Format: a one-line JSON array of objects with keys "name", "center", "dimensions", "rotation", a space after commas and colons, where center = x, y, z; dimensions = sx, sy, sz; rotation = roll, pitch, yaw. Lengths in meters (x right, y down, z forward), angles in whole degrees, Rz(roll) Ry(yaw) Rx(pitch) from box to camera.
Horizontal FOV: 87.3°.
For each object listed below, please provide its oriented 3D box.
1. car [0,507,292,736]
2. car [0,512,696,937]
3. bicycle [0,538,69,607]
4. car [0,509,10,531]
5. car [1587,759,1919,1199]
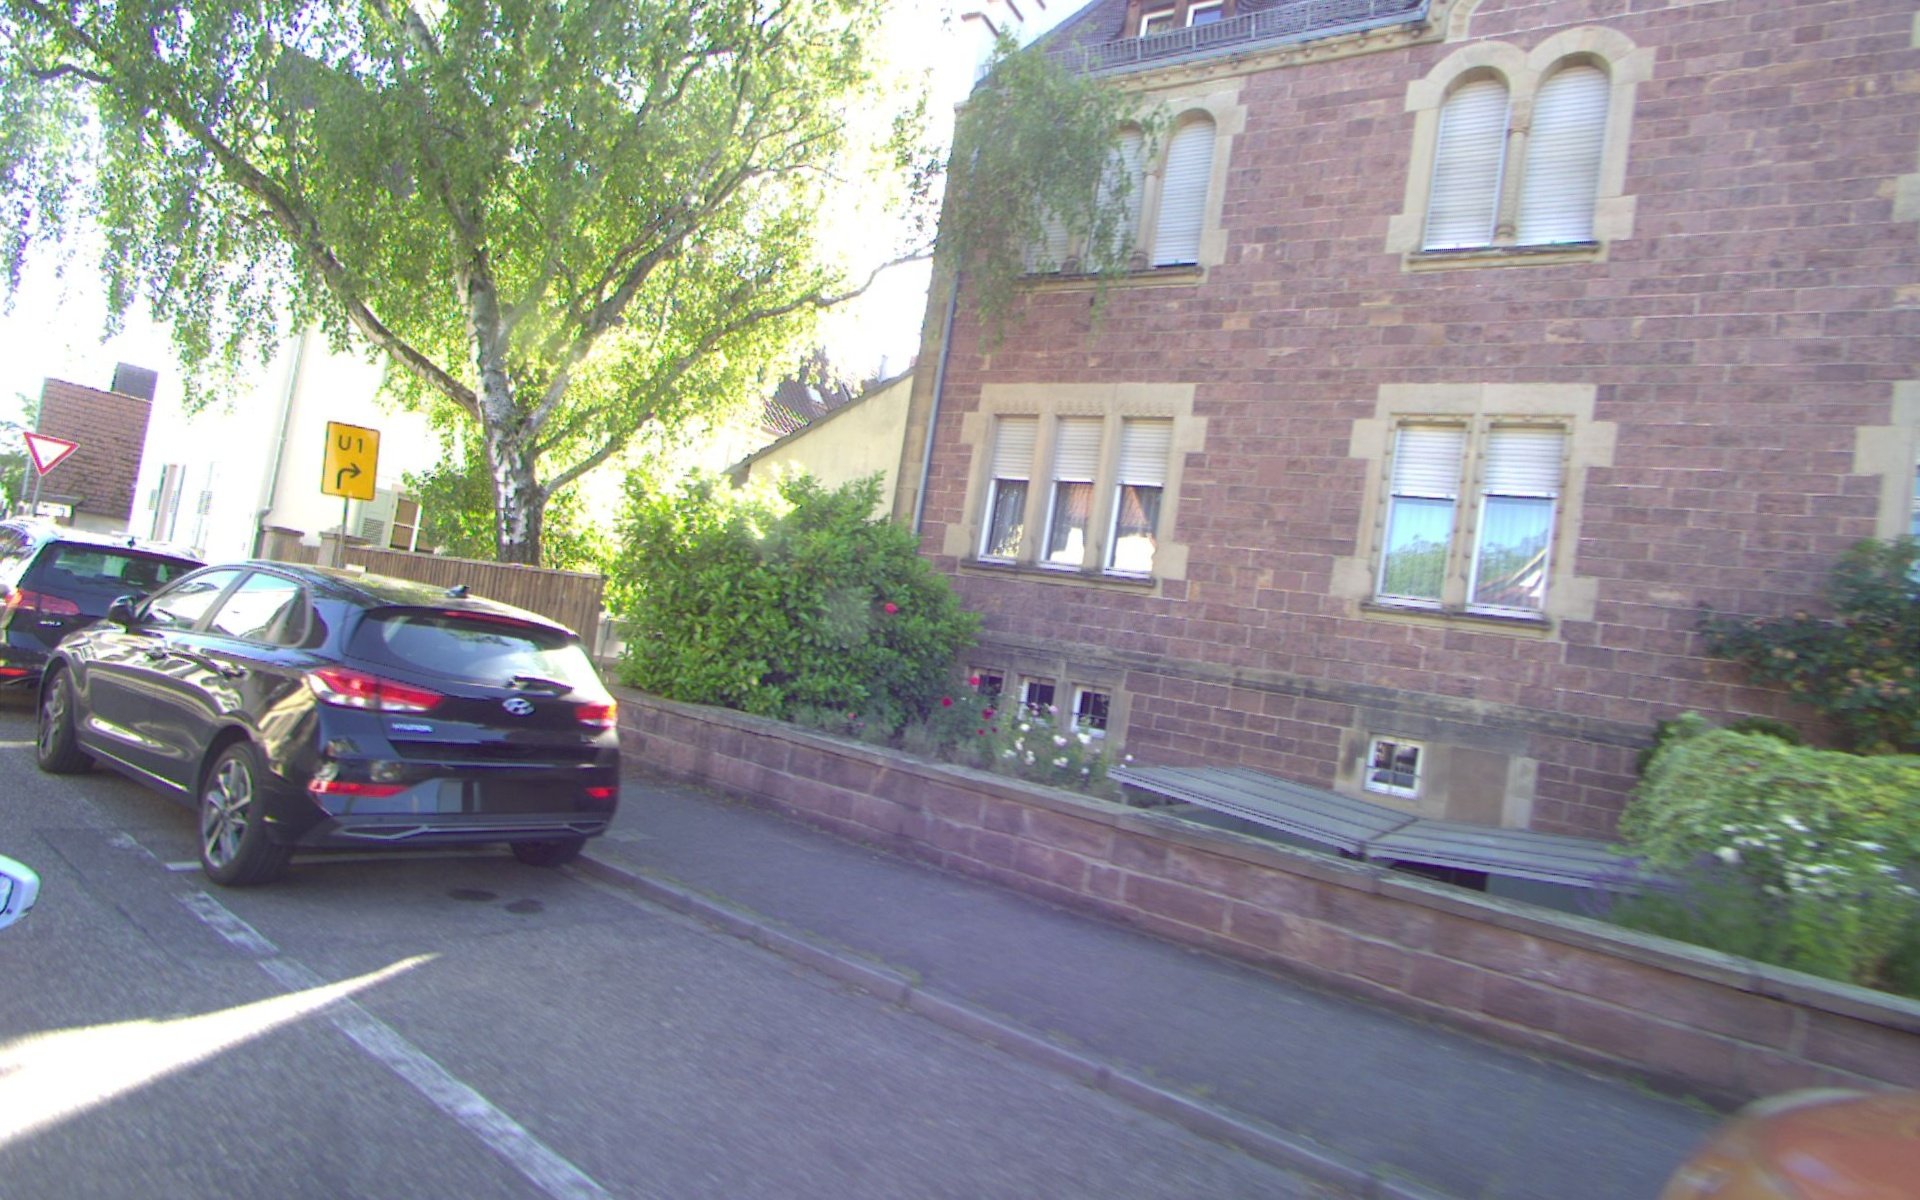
[{"name": "car", "center": [-7.720, 0.051, 8.796], "dimensions": [4.222, 1.451, 1.809], "rotation": [7, -4, 39]}, {"name": "car", "center": [-3.752, 0.510, 5.907], "dimensions": [4.218, 1.451, 1.811], "rotation": [7, -4, 35]}, {"name": "bicycle", "center": [-17.349, -0.535, 18.833], "dimensions": [1.860, 1.092, 0.435], "rotation": [7, -2, 34]}, {"name": "car", "center": [-81.821, -6.902, 84.973], "dimensions": [3.944, 1.731, 1.972], "rotation": [5, -5, 45]}, {"name": "car", "center": [2.927, 1.295, 1.012], "dimensions": [3.871, 1.494, 1.652], "rotation": [7, -4, 35]}]
